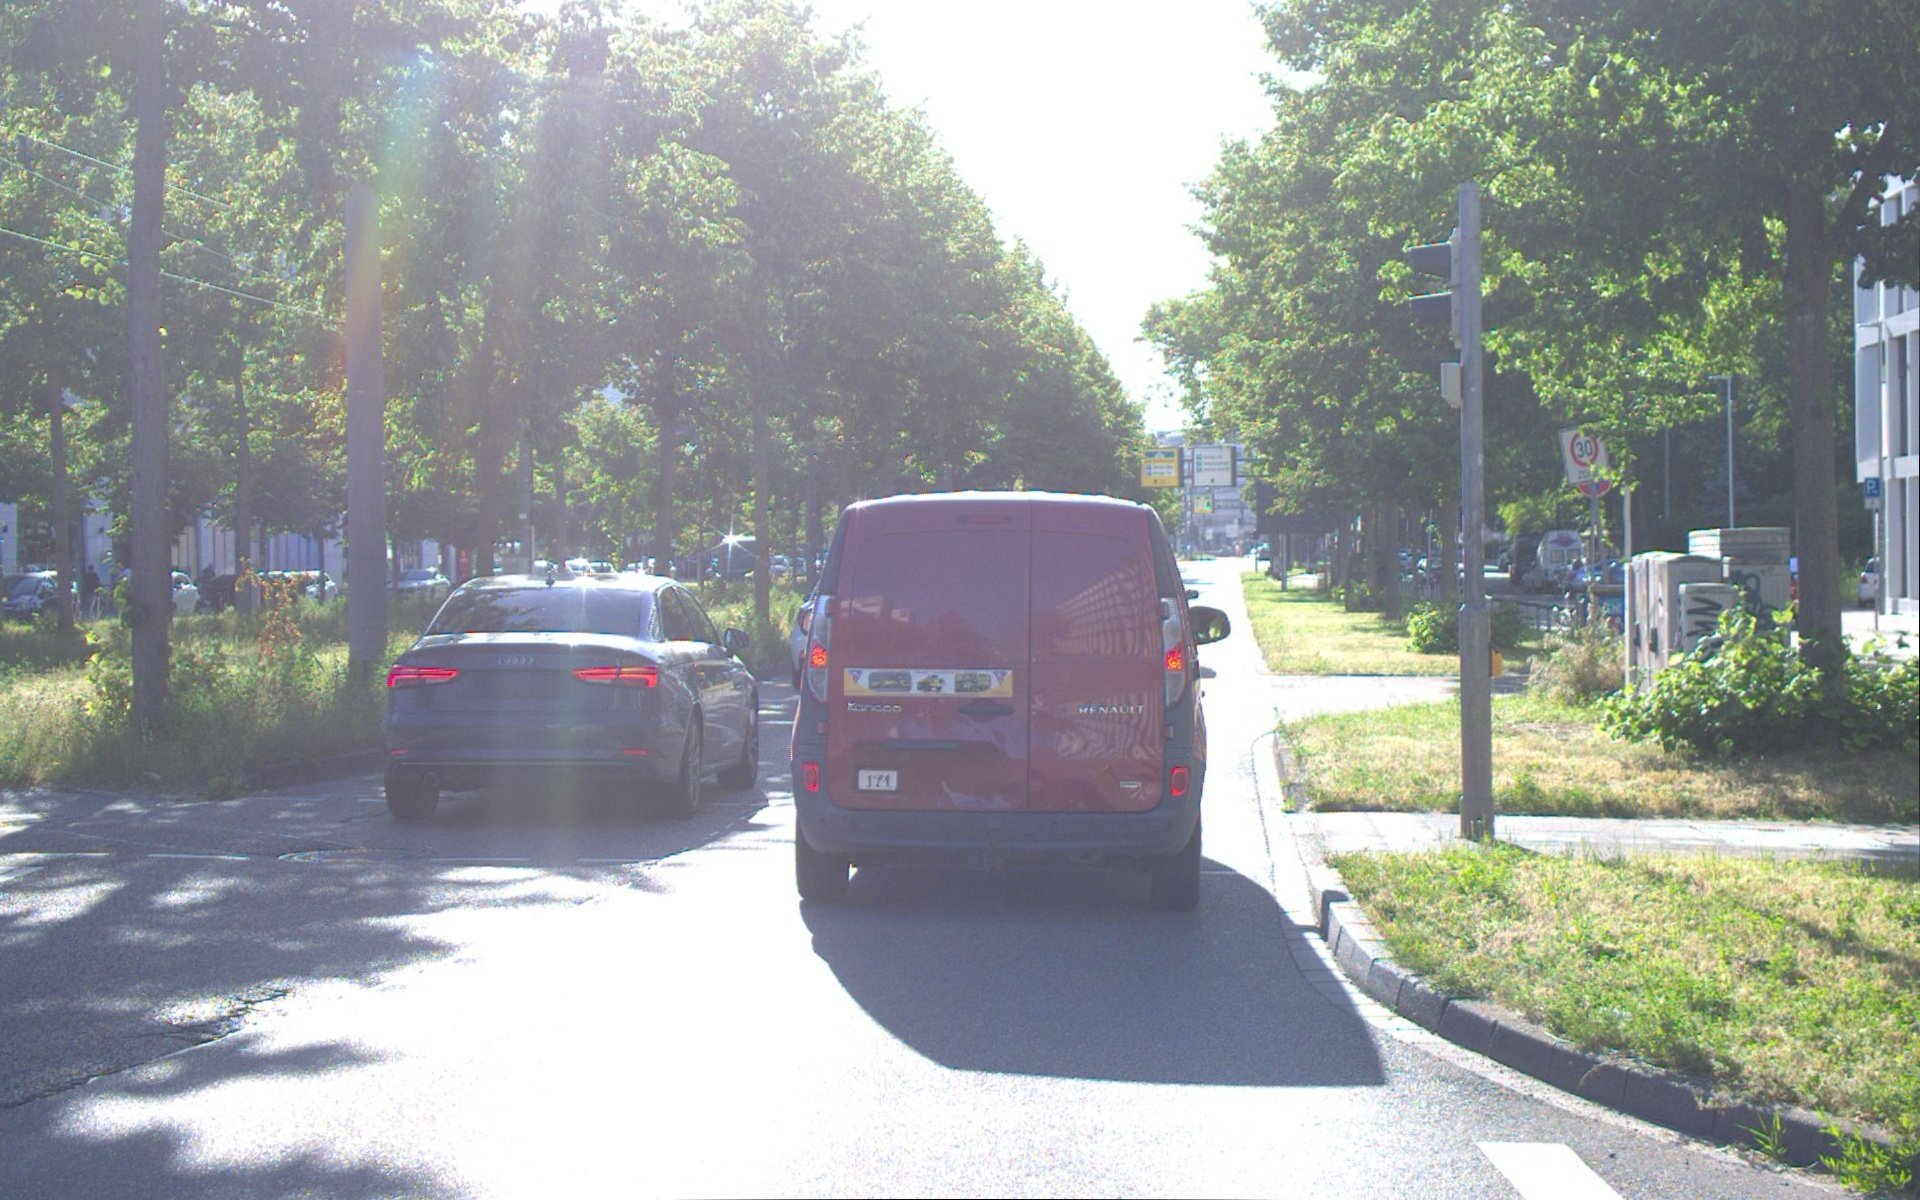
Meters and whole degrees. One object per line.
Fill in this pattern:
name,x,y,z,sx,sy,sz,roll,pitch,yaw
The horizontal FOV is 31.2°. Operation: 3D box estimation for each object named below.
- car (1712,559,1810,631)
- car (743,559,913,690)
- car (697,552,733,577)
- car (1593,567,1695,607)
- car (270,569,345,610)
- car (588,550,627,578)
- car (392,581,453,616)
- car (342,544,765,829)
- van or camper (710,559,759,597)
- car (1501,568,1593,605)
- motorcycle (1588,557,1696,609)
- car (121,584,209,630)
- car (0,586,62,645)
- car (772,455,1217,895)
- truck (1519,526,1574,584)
car,18.522,-0.133,79.660,1.758,1.606,3.902,0,1,6
car,-1.497,0.246,40.313,1.808,1.430,4.113,0,1,0
car,-15.759,-2.307,221.045,1.756,1.568,3.999,0,1,4
car,23.508,-0.444,118.209,3.400,1.354,1.470,0,1,12
car,-22.353,-0.375,117.880,1.580,1.337,3.712,0,1,4
car,-22.007,-2.251,214.705,1.732,1.766,3.999,0,1,4
car,-21.620,-0.061,138.386,1.580,1.337,3.712,0,1,4
car,-2.306,0.437,20.564,1.808,1.522,4.112,0,1,3
van or camper,-10.716,-1.059,163.694,1.821,1.732,3.711,0,1,4
car,22.281,-0.522,130.523,3.400,1.354,1.470,0,1,12
motorcycle,22.030,-0.540,111.089,3.400,1.657,1.470,0,1,12
car,-24.356,0.197,105.463,1.580,1.337,3.712,0,1,4
car,-25.758,0.404,92.840,1.776,1.523,3.805,0,1,4
car,0.162,0.311,16.121,1.808,1.788,4.113,0,0,1
truck,25.587,-1.962,150.054,1.832,2.492,5.932,0,0,4
